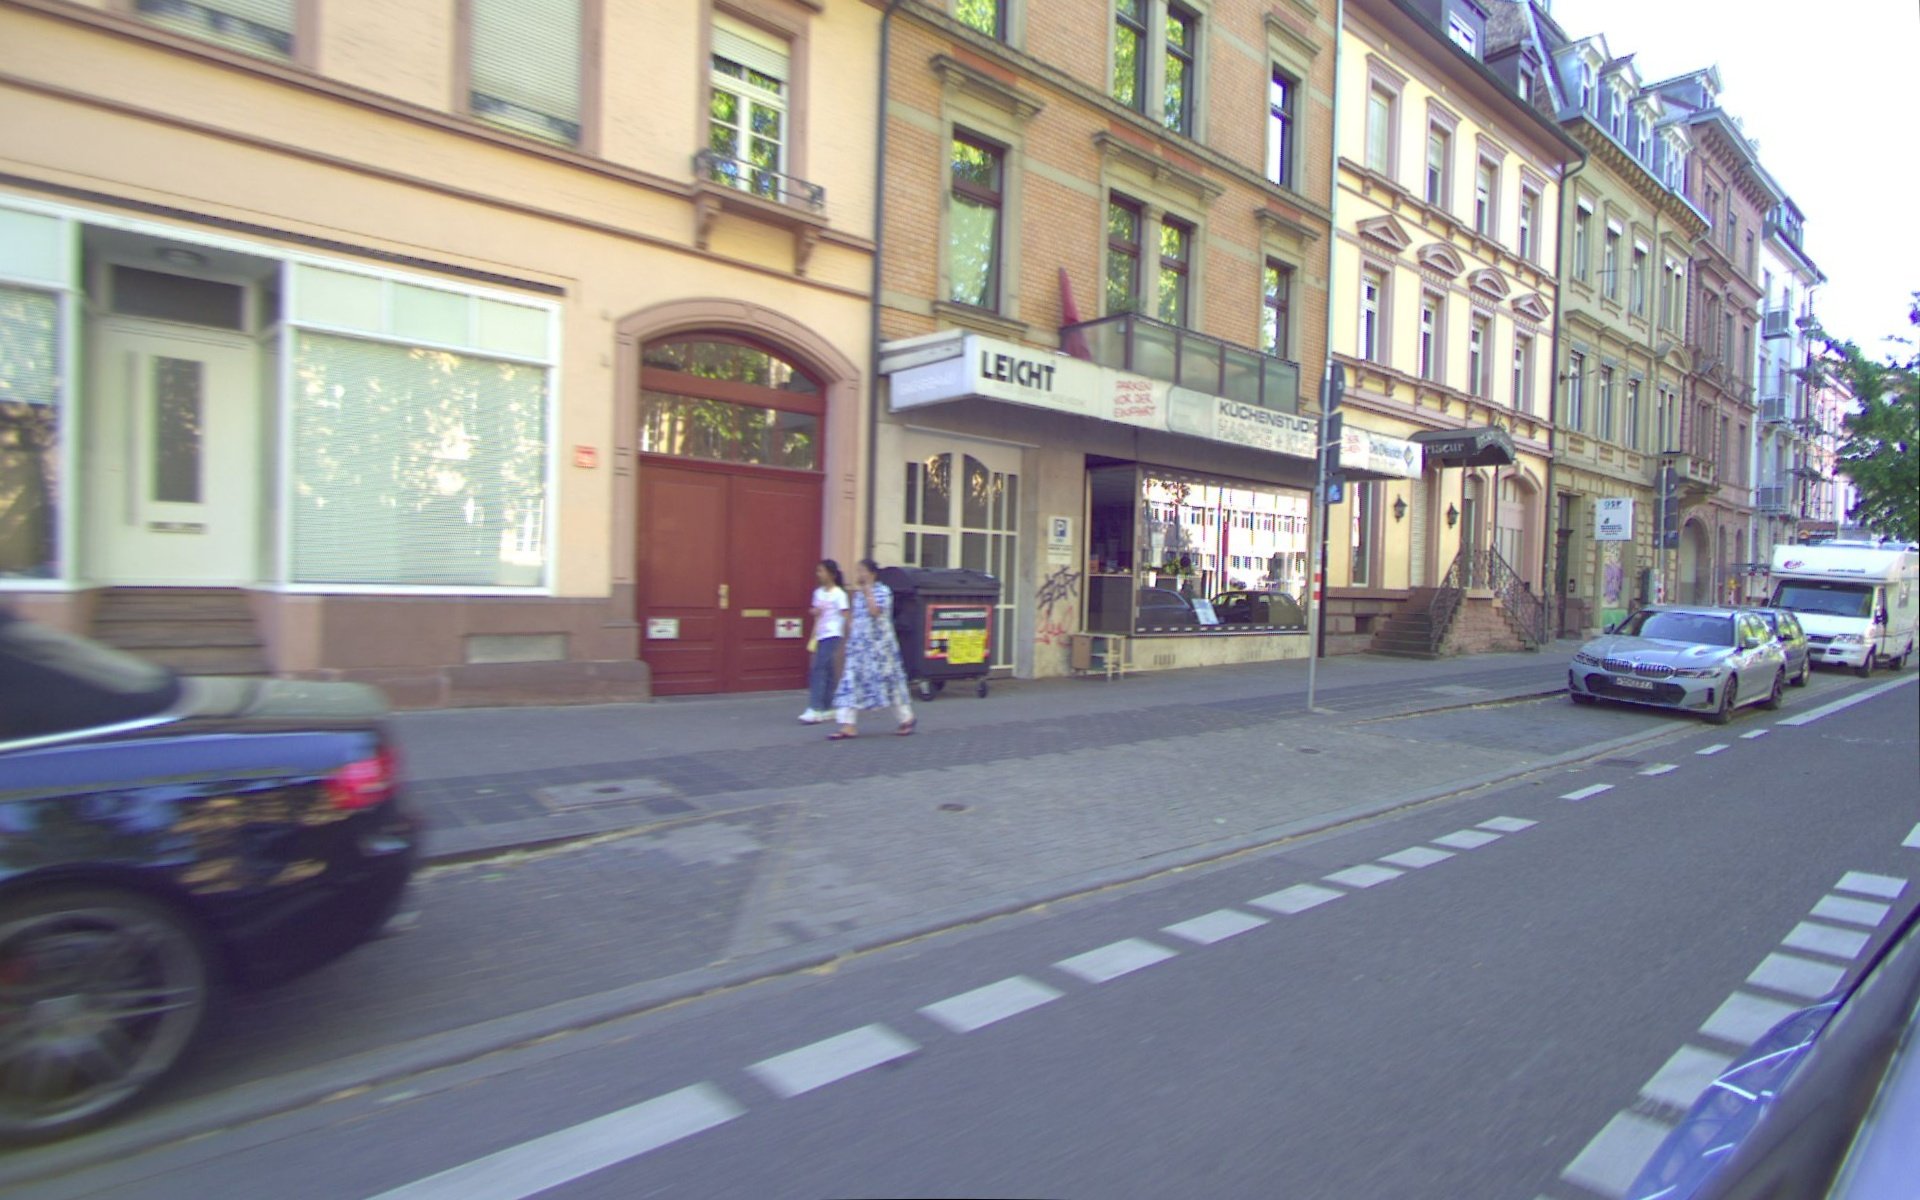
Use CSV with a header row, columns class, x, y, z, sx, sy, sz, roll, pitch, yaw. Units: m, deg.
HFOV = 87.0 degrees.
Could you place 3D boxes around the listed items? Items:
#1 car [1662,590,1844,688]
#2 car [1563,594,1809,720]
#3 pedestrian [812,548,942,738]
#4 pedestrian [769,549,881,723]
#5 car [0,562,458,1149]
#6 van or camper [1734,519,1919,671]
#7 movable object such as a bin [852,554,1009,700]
class,x,y,z,sx,sy,sz,roll,pitch,yaw
car,14.322,0.614,18.212,3.956,1.451,1.650,0,5,-39
car,10.541,0.679,14.560,4.583,1.452,1.813,0,3,-41
pedestrian,-0.710,0.332,8.670,0.851,1.523,0.661,0,2,-41
pedestrian,-1.233,0.303,9.245,0.772,1.501,0.659,0,1,-41
car,-3.797,0.613,2.399,4.413,1.409,1.698,0,3,-39
van or camper,20.991,-0.192,23.812,7.741,3.007,2.485,0,5,-39
movable object such as a bin,-0.345,0.269,11.568,1.263,1.539,1.296,0,1,-40
